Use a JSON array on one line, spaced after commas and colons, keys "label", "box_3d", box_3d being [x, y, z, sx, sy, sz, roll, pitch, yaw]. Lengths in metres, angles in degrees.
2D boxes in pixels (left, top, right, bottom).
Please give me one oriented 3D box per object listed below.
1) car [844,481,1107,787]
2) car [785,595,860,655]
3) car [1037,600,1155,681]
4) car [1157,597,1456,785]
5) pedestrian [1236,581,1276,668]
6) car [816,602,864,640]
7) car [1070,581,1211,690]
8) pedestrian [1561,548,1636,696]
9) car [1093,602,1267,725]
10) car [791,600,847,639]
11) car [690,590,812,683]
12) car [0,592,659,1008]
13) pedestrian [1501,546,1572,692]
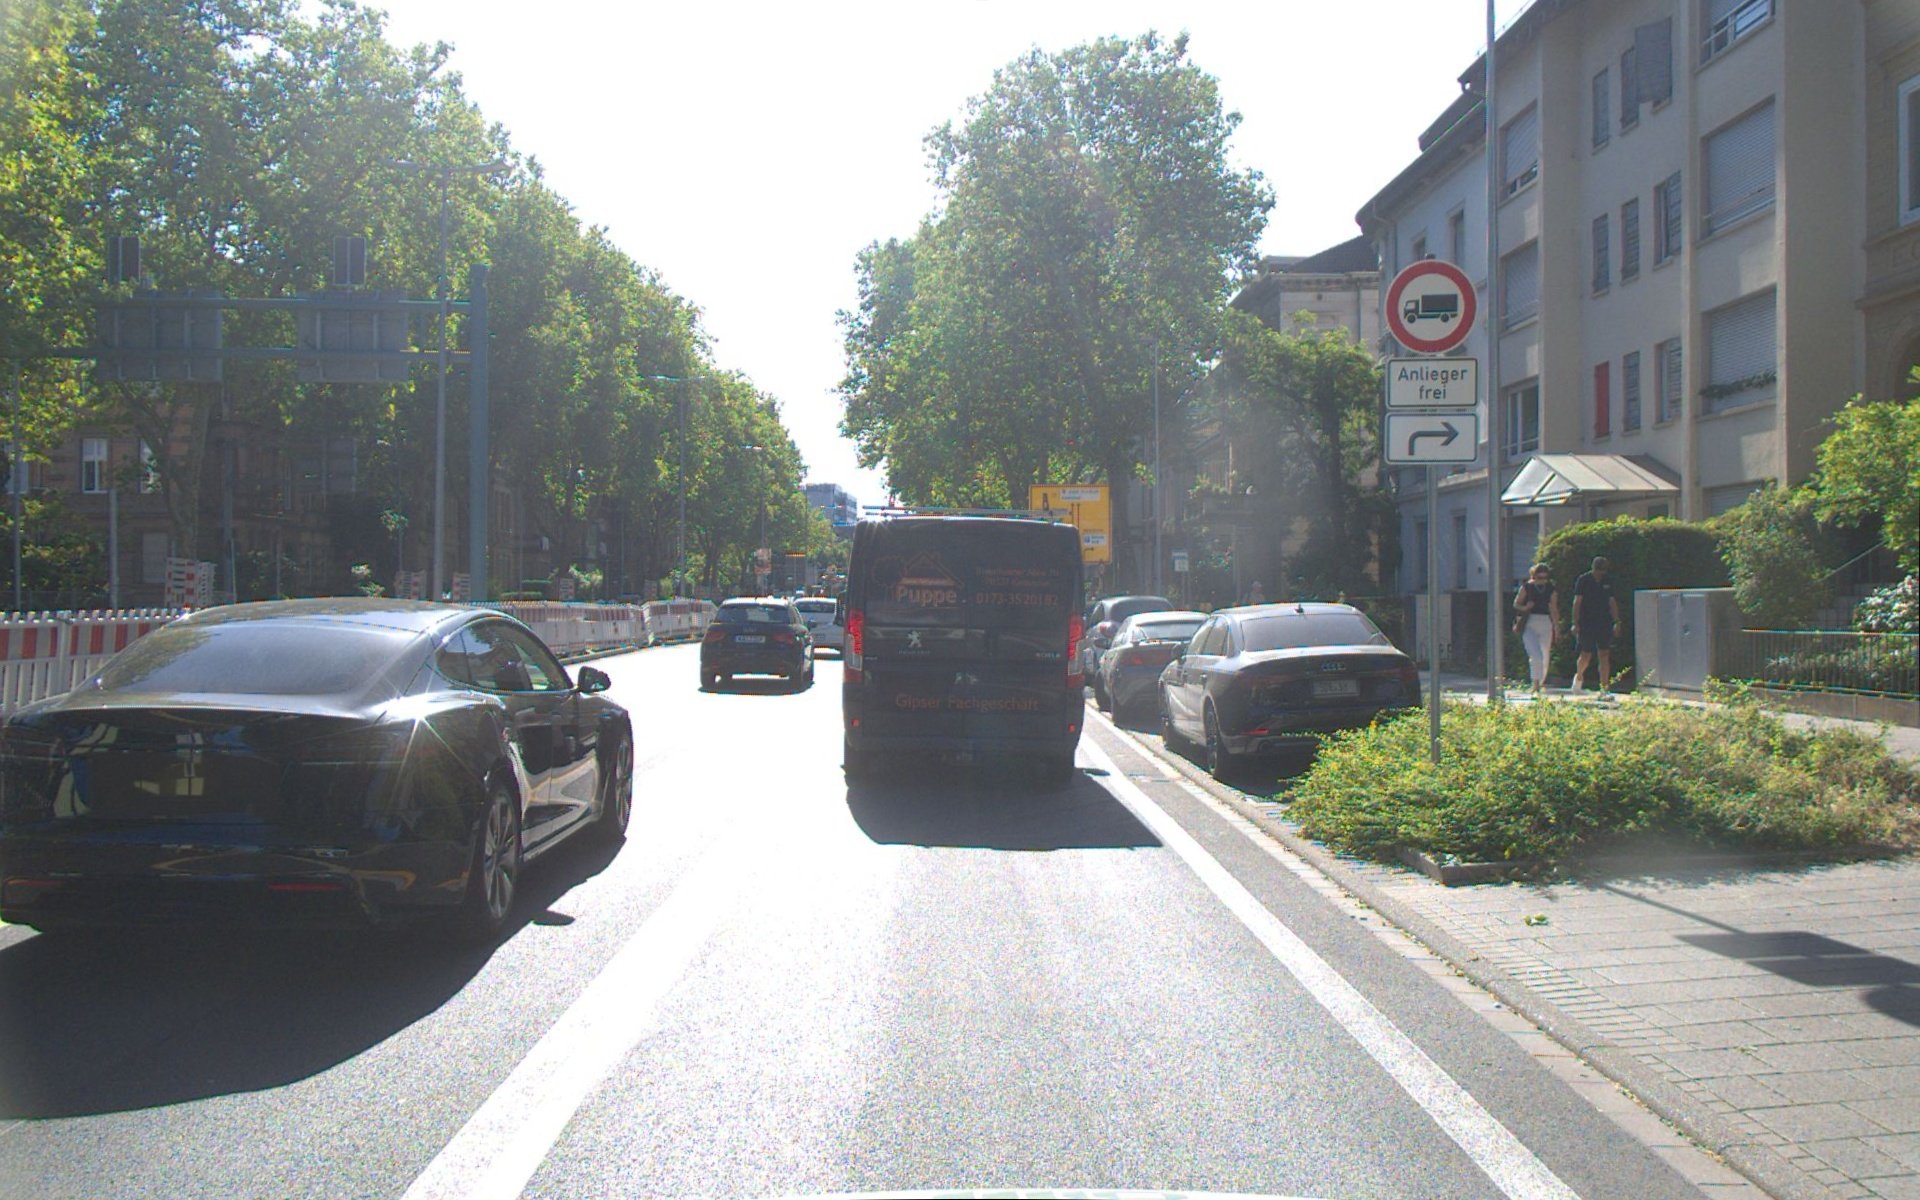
[{"label": "car", "box_3d": [0.062, 0.244, 15.023, 2.053, 2.396, 3.932, 1, 1, -2]}, {"label": "car", "box_3d": [-3.443, 0.613, 41.925, 1.515, 1.450, 3.555, 0, 0, 1]}, {"label": "car", "box_3d": [2.595, 0.742, 32.317, 1.807, 1.433, 3.798, -2, 0, -2]}, {"label": "car", "box_3d": [3.029, 0.724, 15.428, 1.807, 1.467, 4.486, -1, 0, -1]}, {"label": "pedestrian", "box_3d": [7.129, 0.578, 39.888, 0.781, 2.049, 1.168, -1, 0, 3]}, {"label": "car", "box_3d": [-4.057, 0.685, 56.344, 1.392, 1.246, 3.438, 0, 0, 0]}, {"label": "car", "box_3d": [3.022, 0.567, 28.386, 1.807, 1.672, 3.798, -2, 0, -2]}, {"label": "pedestrian", "box_3d": [7.930, 0.267, 20.573, 0.640, 1.786, 1.014, -1, 0, 8]}, {"label": "car", "box_3d": [2.769, 0.758, 21.593, 1.806, 1.433, 3.801, -1, 0, 1]}, {"label": "car", "box_3d": [-5.798, 0.784, 68.498, 1.953, 1.495, 4.000, 1, 1, 0]}, {"label": "car", "box_3d": [-3.466, 0.571, 28.057, 1.711, 1.432, 3.998, 1, 0, -3]}, {"label": "car", "box_3d": [-2.875, 0.717, 8.320, 1.886, 1.436, 4.625, 2, 0, -1]}, {"label": "pedestrian", "box_3d": [7.233, 0.240, 20.776, 0.661, 1.786, 0.876, -1, 0, 8]}]
